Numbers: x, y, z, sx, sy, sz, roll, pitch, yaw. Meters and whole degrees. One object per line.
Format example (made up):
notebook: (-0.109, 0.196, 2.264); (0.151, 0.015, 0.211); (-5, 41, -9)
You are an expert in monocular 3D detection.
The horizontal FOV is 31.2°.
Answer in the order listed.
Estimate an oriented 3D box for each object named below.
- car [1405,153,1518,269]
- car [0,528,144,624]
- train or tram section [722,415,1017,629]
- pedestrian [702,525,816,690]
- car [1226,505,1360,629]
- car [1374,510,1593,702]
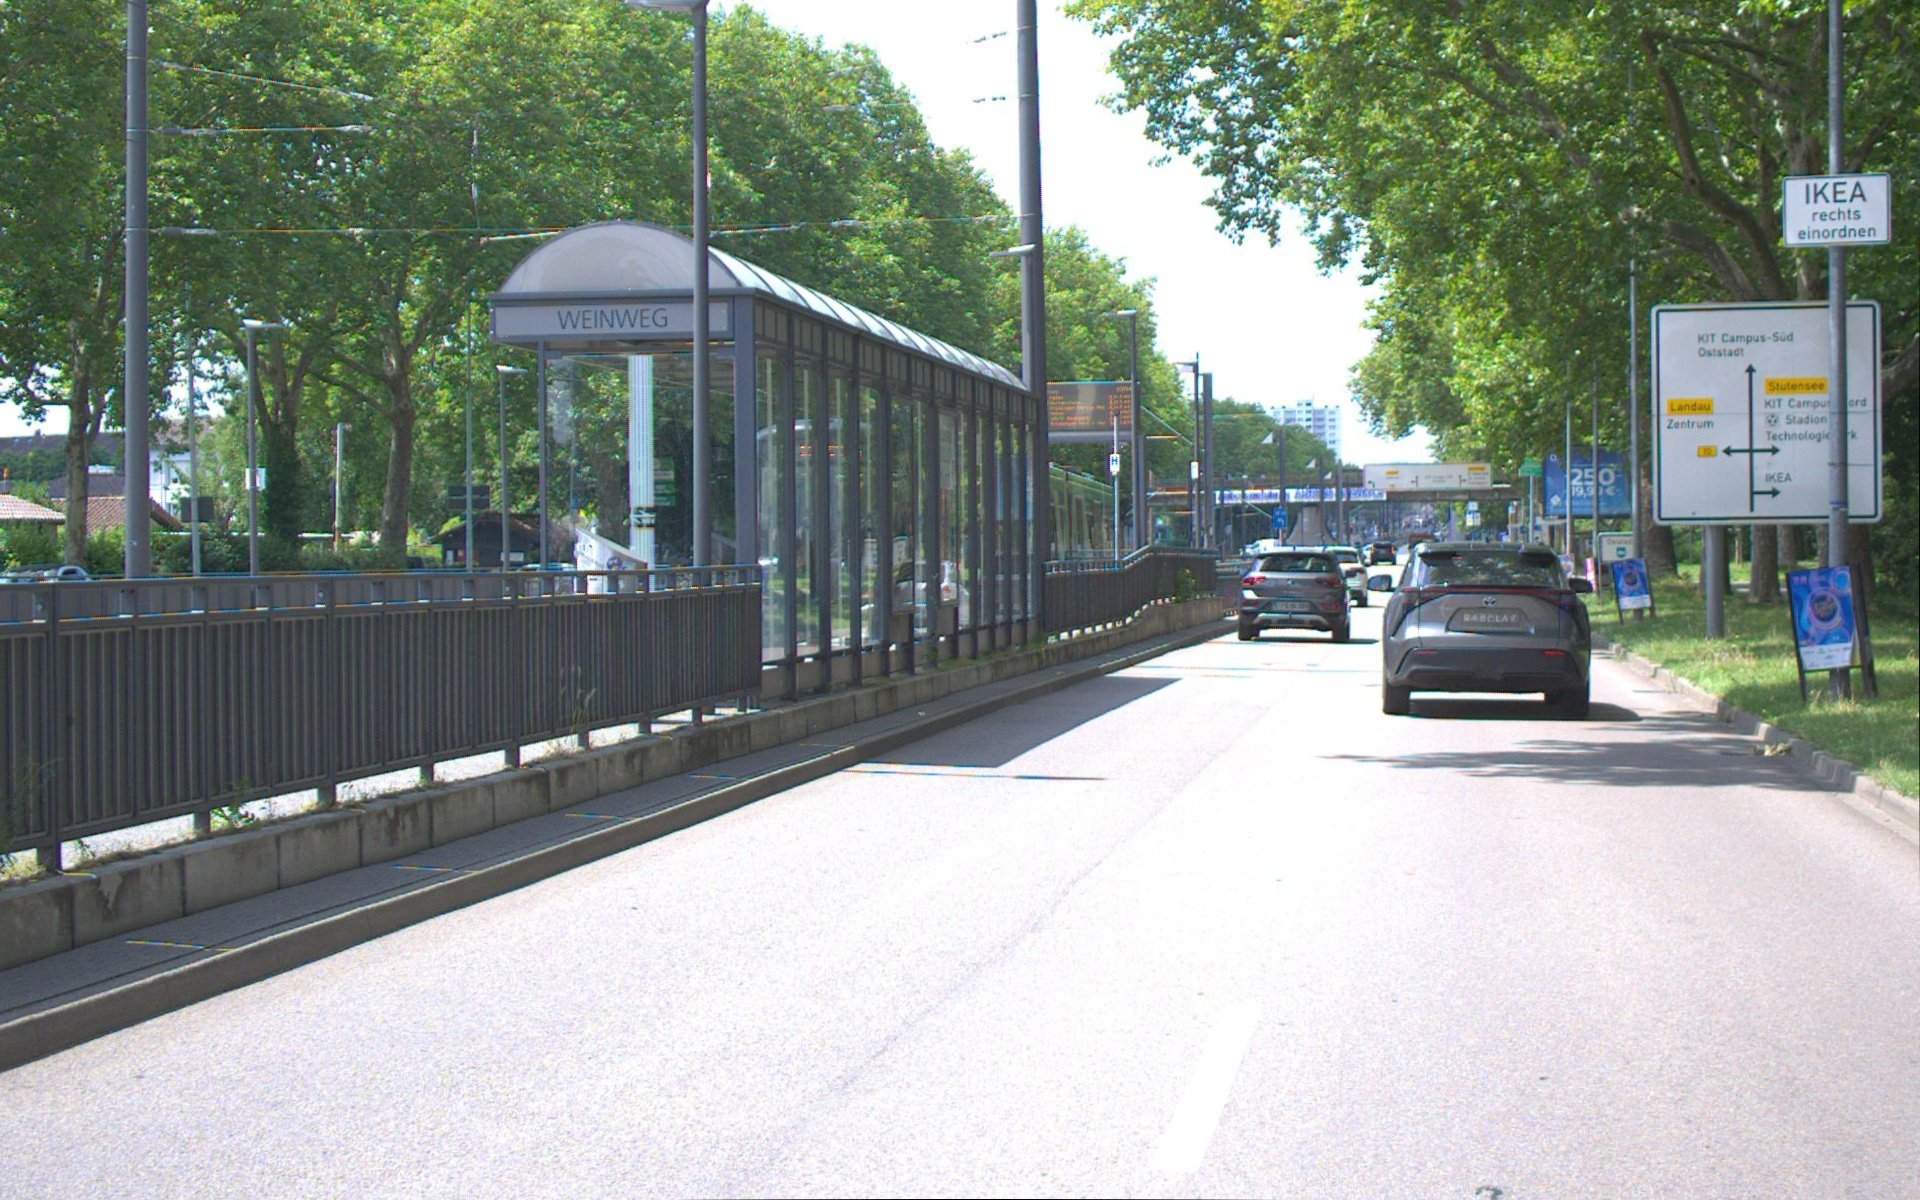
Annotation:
car: (8.869, -6.875, 61.045); (1.832, 1.624, 4.295); (1, 1, 7)
car: (-16.276, -0.459, 62.008); (1.709, 1.579, 3.999); (1, 2, 8)
train or tram section: (-1.238, -1.281, 58.250); (3.038, 3.175, 14.098); (0, 1, 7)
pedestrian: (-1.482, 0.046, 25.440); (0.693, 1.186, 0.642); (2, 1, 9)
car: (5.618, -0.531, 57.561); (1.994, 1.982, 4.361); (0, 0, 9)
car: (4.878, 0.059, 32.500); (1.898, 1.669, 4.518); (1, 0, 7)
